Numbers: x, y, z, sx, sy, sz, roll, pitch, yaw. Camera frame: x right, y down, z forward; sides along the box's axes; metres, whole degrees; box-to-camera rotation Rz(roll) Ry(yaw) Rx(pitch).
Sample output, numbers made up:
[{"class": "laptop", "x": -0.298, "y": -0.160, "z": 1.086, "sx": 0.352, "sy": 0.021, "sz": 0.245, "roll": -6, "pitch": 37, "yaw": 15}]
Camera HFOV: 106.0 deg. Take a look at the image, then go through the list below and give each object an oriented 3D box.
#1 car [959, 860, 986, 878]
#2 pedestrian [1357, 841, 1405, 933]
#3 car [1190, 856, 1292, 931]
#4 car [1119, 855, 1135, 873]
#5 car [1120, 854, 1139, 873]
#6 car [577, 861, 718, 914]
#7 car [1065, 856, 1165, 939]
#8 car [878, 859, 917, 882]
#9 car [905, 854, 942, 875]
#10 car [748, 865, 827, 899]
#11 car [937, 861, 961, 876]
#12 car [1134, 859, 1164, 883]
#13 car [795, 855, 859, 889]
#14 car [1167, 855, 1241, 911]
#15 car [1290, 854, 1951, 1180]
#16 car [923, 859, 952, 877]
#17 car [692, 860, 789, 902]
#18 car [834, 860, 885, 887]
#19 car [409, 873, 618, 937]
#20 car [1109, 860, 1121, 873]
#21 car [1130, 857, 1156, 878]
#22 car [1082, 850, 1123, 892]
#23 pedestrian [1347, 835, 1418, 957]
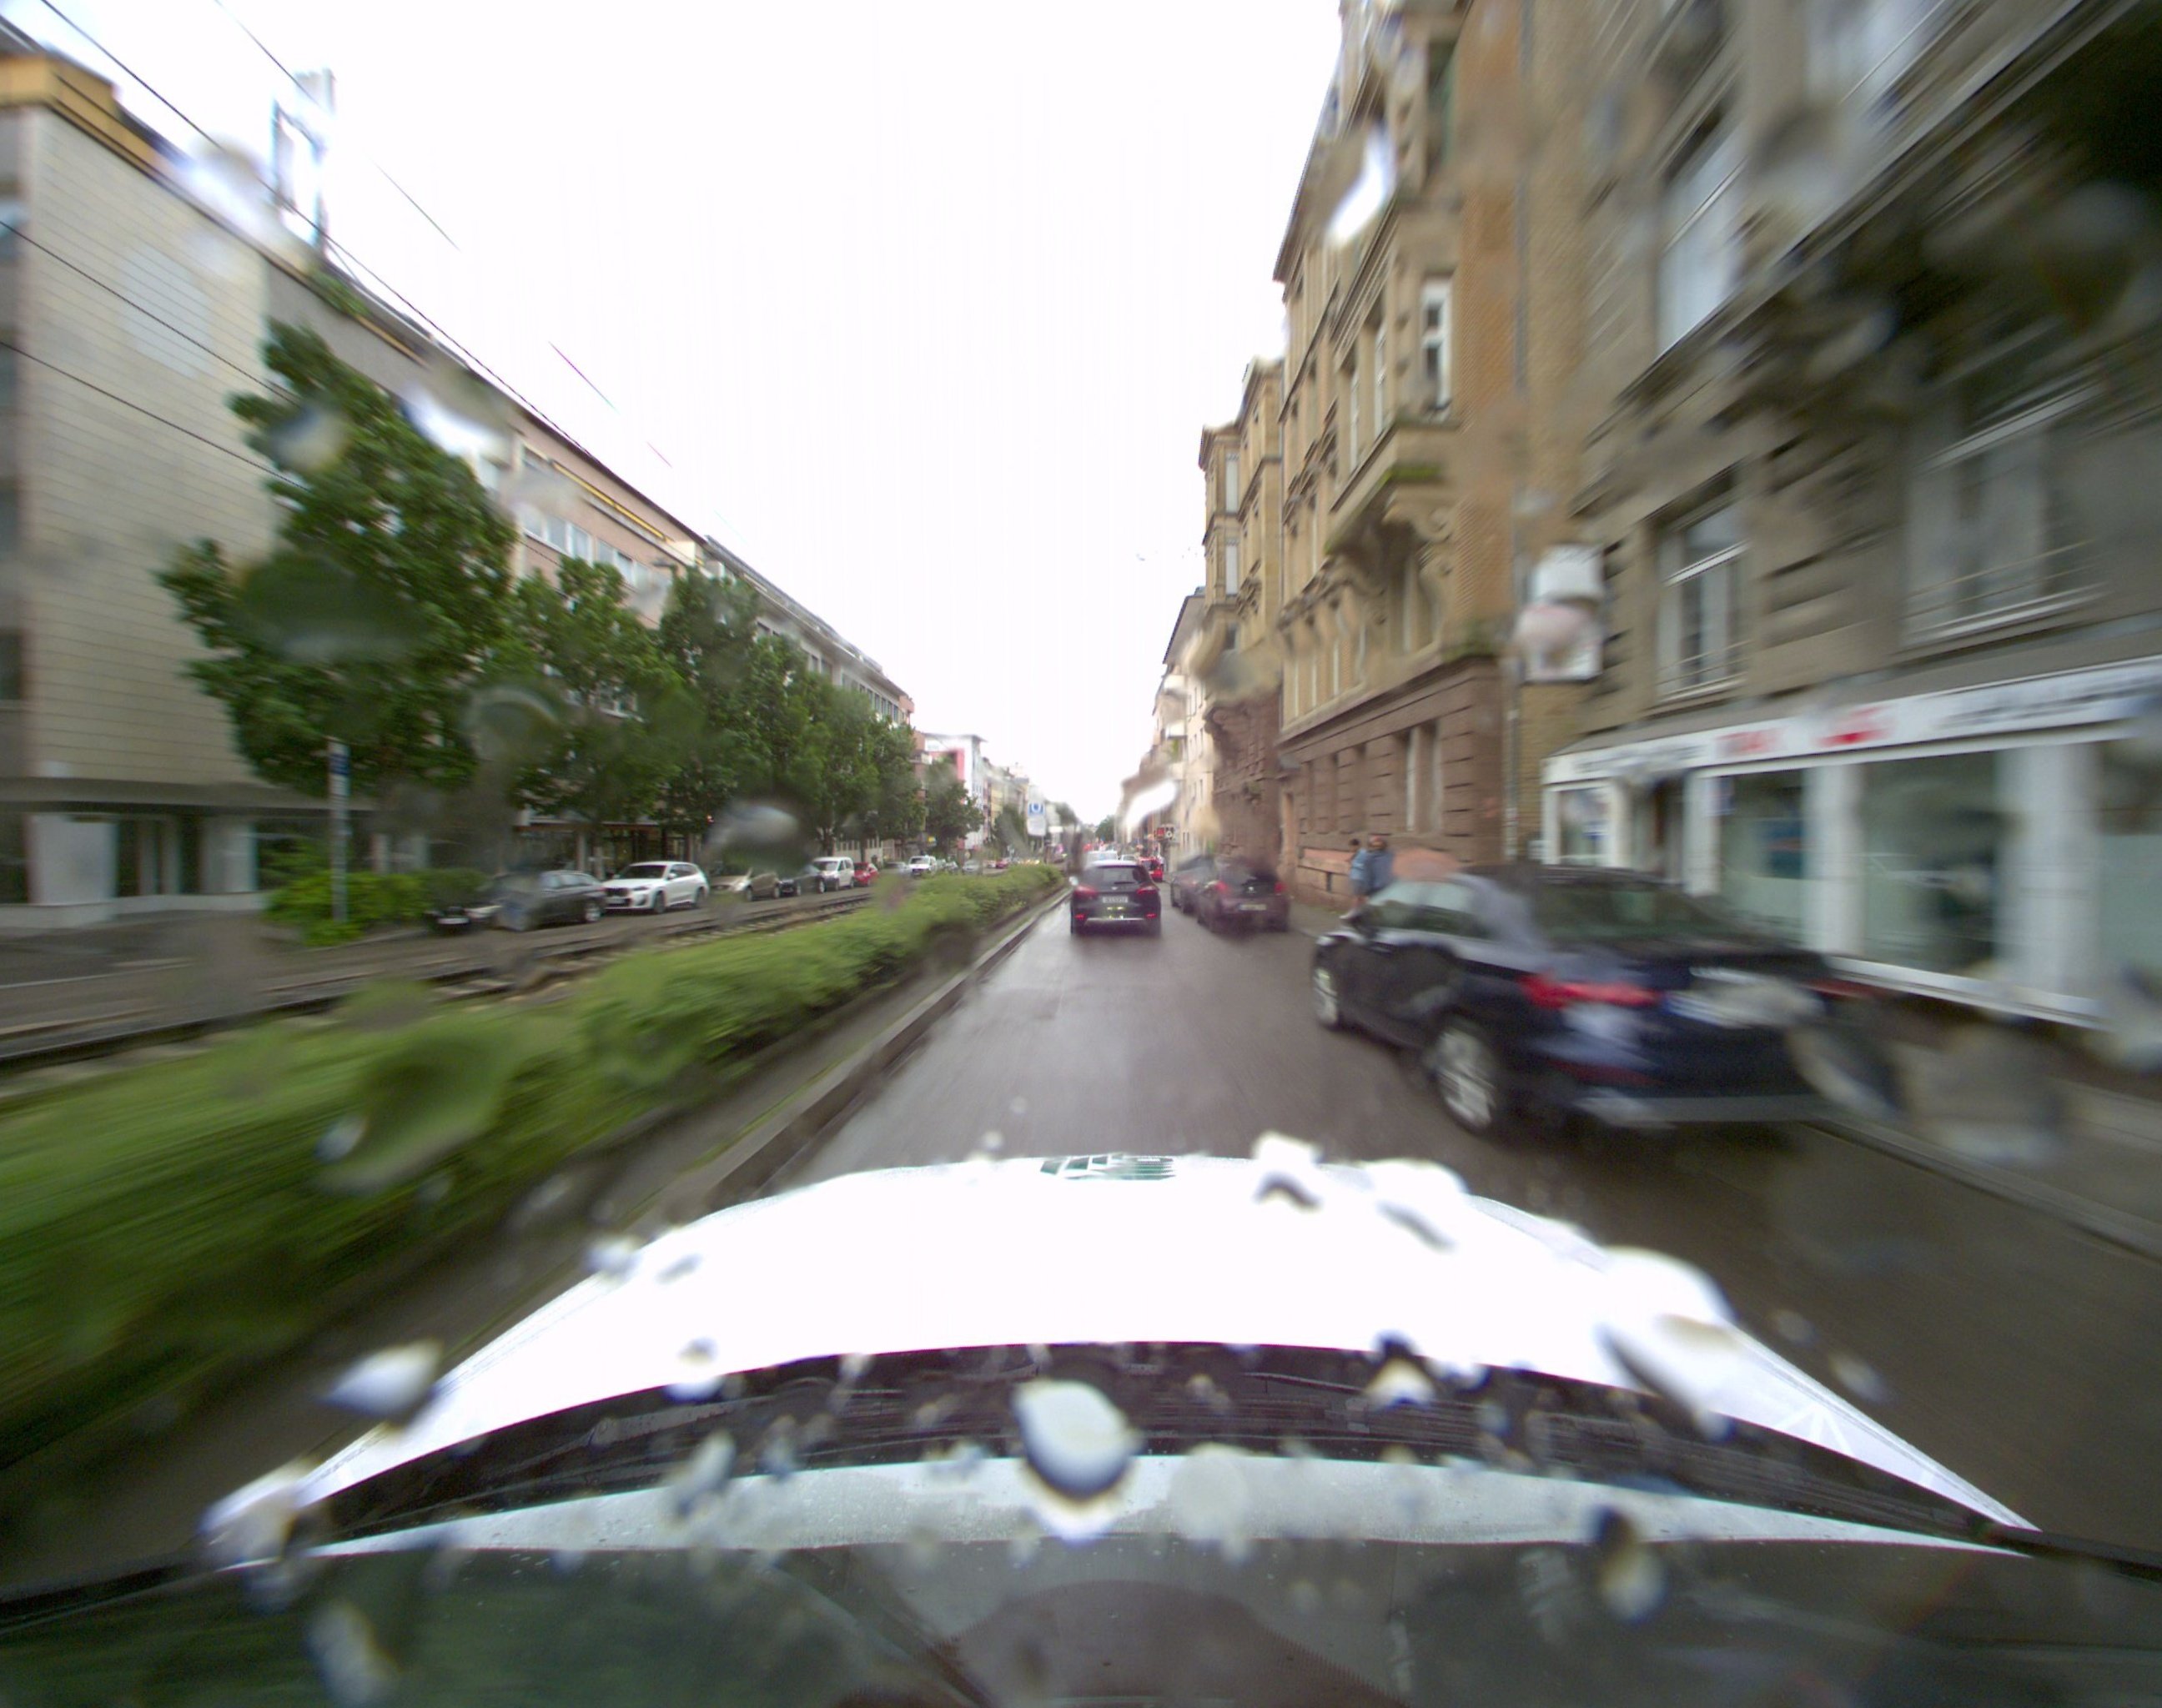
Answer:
[{"class": "car", "x": -10.175, "y": 1.392, "z": 76.448, "sx": 1.848, "sy": 1.637, "sz": 4.047, "roll": 0, "pitch": -2, "yaw": 2}, {"class": "pedestrian", "x": 5.328, "y": 0.580, "z": 14.506, "sx": 0.517, "sy": 1.579, "sz": 0.677, "roll": -3, "pitch": -2, "yaw": 1}, {"class": "car", "x": 3.402, "y": 0.799, "z": 17.841, "sx": 1.643, "sy": 1.460, "sz": 3.477, "roll": -1, "pitch": -1, "yaw": 2}, {"class": "car", "x": 5.061, "y": 1.139, "z": 89.584, "sx": 1.585, "sy": 1.781, "sz": 3.780, "roll": 2, "pitch": -2, "yaw": 2}, {"class": "car", "x": 4.947, "y": 1.007, "z": 83.737, "sx": 1.832, "sy": 1.781, "sz": 3.780, "roll": 2, "pitch": -2, "yaw": 2}, {"class": "car", "x": -13.738, "y": 1.043, "z": 26.193, "sx": 1.848, "sy": 1.549, "sz": 4.722, "roll": 0, "pitch": -2, "yaw": 2}, {"class": "car", "x": 0.613, "y": 0.844, "z": 17.169, "sx": 1.837, "sy": 1.507, "sz": 3.998, "roll": -1, "pitch": -1, "yaw": -1}, {"class": "car", "x": -12.711, "y": 1.184, "z": 56.664, "sx": 1.661, "sy": 1.558, "sz": 4.047, "roll": 0, "pitch": -2, "yaw": 2}, {"class": "car", "x": -12.740, "y": 0.919, "z": 66.153, "sx": 1.848, "sy": 1.637, "sz": 4.936, "roll": 0, "pitch": -2, "yaw": 2}, {"class": "car", "x": -13.336, "y": 1.270, "z": 37.266, "sx": 1.848, "sy": 1.418, "sz": 4.432, "roll": -2, "pitch": -2, "yaw": 2}, {"class": "car", "x": -12.653, "y": 1.375, "z": 78.305, "sx": 1.544, "sy": 1.395, "sz": 4.047, "roll": 0, "pitch": -2, "yaw": 2}, {"class": "car", "x": 4.221, "y": 1.038, "z": 51.122, "sx": 1.664, "sy": 1.421, "sz": 3.477, "roll": -1, "pitch": -1, "yaw": 1}, {"class": "car", "x": -13.404, "y": 0.971, "z": 43.291, "sx": 1.848, "sy": 1.701, "sz": 4.432, "roll": 0, "pitch": -2, "yaw": 2}, {"class": "car", "x": 3.453, "y": 0.796, "z": 23.508, "sx": 1.572, "sy": 1.460, "sz": 3.821, "roll": -1, "pitch": -1, "yaw": 0}, {"class": "car", "x": 2.904, "y": 0.757, "z": 5.691, "sx": 1.786, "sy": 1.407, "sz": 4.255, "roll": 0, "pitch": -1, "yaw": 0}, {"class": "car", "x": -12.768, "y": 1.249, "z": 72.572, "sx": 1.688, "sy": 1.574, "sz": 4.047, "roll": 0, "pitch": -2, "yaw": 2}, {"class": "car", "x": -13.502, "y": 1.058, "z": 32.616, "sx": 1.848, "sy": 1.549, "sz": 4.432, "roll": 0, "pitch": -2, "yaw": 2}, {"class": "car", "x": -13.352, "y": 1.188, "z": 49.348, "sx": 1.848, "sy": 1.527, "sz": 4.047, "roll": 0, "pitch": -2, "yaw": 2}, {"class": "car", "x": -13.739, "y": 1.193, "z": 20.143, "sx": 1.687, "sy": 1.378, "sz": 4.722, "roll": 0, "pitch": -2, "yaw": 2}, {"class": "car", "x": 5.808, "y": 2.105, "z": 139.341, "sx": 1.986, "sy": 2.014, "sz": 4.001, "roll": 2, "pitch": -2, "yaw": 2}, {"class": "car", "x": 4.379, "y": 0.975, "z": 57.666, "sx": 1.664, "sy": 1.421, "sz": 3.477, "roll": -1, "pitch": -1, "yaw": 1}, {"class": "car", "x": 1.155, "y": 0.821, "z": 41.954, "sx": 1.980, "sy": 2.060, "sz": 4.649, "roll": 0, "pitch": 0, "yaw": 3}, {"class": "pedestrian", "x": 4.713, "y": 0.628, "z": 12.791, "sx": 0.700, "sy": 1.819, "sz": 0.961, "roll": -3, "pitch": 1, "yaw": 1}]
